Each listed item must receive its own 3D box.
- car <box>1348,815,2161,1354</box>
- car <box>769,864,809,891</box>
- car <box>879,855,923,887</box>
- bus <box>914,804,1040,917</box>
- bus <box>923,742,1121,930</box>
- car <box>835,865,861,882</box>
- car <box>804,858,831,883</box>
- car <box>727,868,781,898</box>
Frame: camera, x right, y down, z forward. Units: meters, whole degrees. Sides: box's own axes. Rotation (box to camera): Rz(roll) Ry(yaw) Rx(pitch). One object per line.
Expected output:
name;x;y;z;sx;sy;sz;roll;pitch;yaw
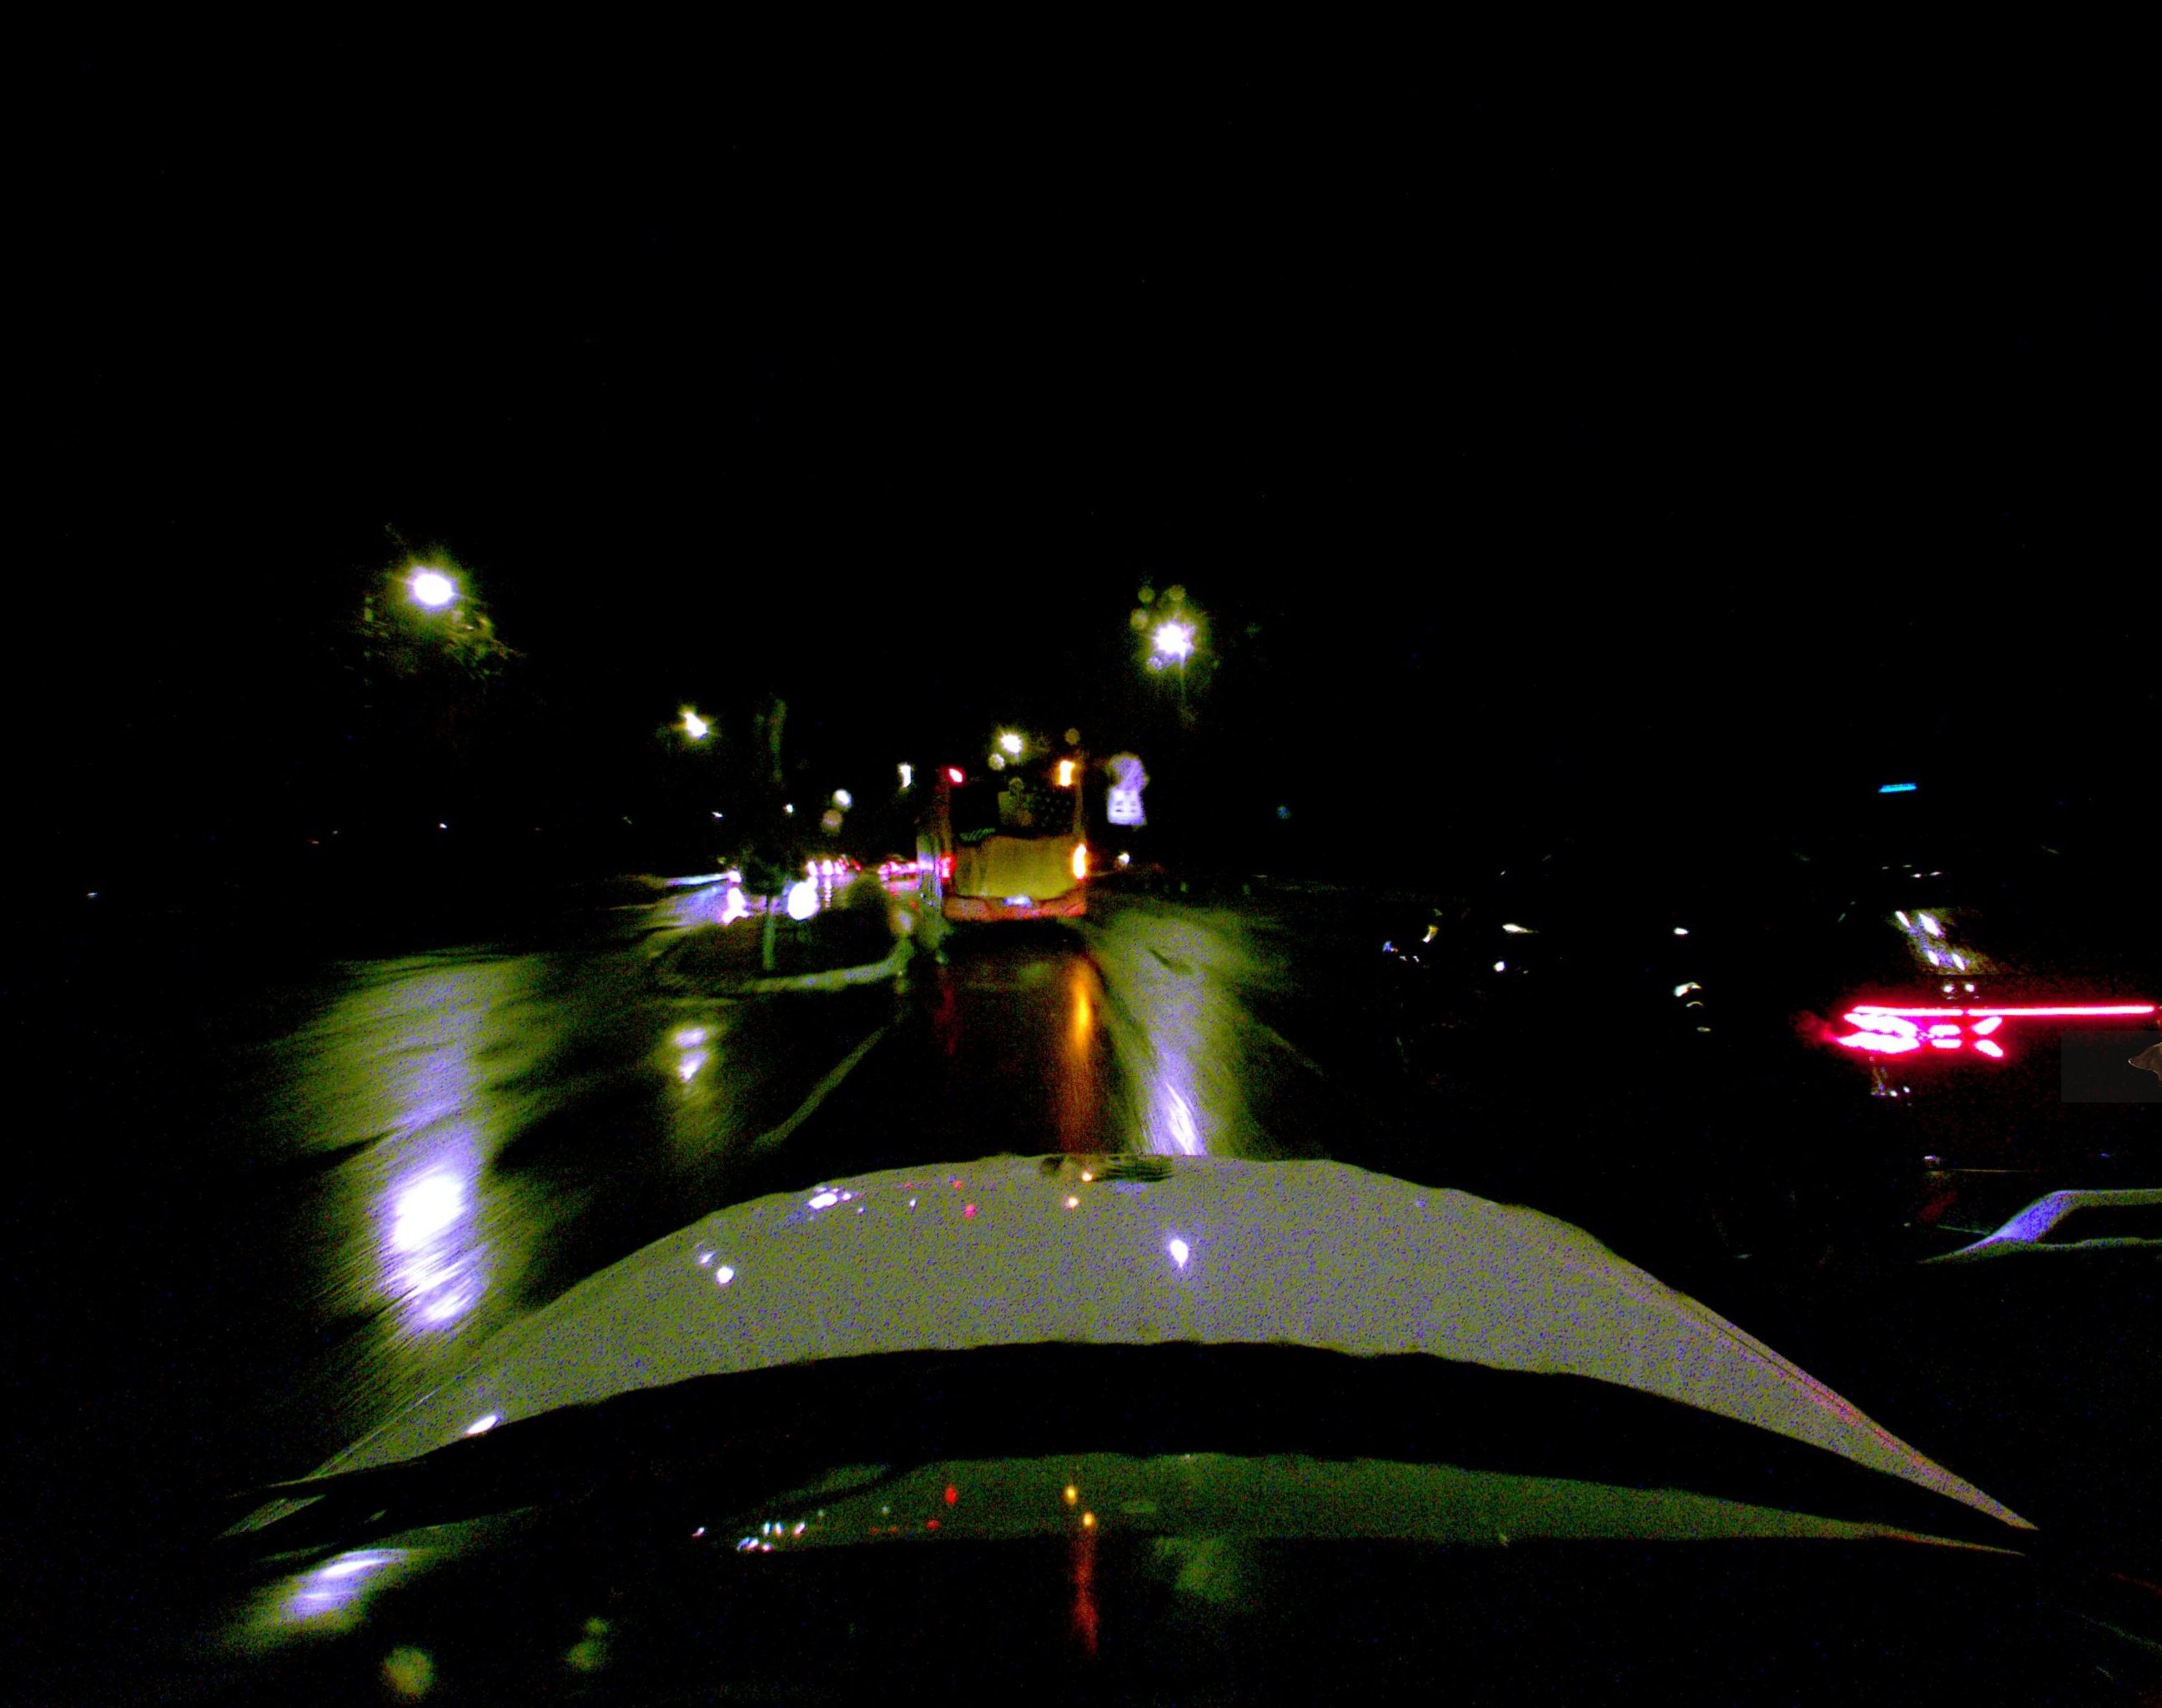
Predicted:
car;2.997;0.703;4.353;1.673;1.522;3.955;0;-1;-3
car;-19.480;1.540;54.486;1.882;1.607;4.640;0;0;-12
car;-11.737;1.115;52.804;2.002;2.014;4.315;1;-2;-23
bus;-3.743;0.155;27.030;3.251;3.120;8.606;1;0;-13
bus;-1.841;-0.514;18.159;3.286;3.049;9.510;0;3;-11
car;-22.604;1.929;78.940;1.824;1.618;3.968;1;-2;-24
car;-22.517;1.331;69.481;2.001;2.013;4.318;0;0;-21
car;-16.735;1.451;41.884;1.825;1.448;4.640;1;-1;-12
